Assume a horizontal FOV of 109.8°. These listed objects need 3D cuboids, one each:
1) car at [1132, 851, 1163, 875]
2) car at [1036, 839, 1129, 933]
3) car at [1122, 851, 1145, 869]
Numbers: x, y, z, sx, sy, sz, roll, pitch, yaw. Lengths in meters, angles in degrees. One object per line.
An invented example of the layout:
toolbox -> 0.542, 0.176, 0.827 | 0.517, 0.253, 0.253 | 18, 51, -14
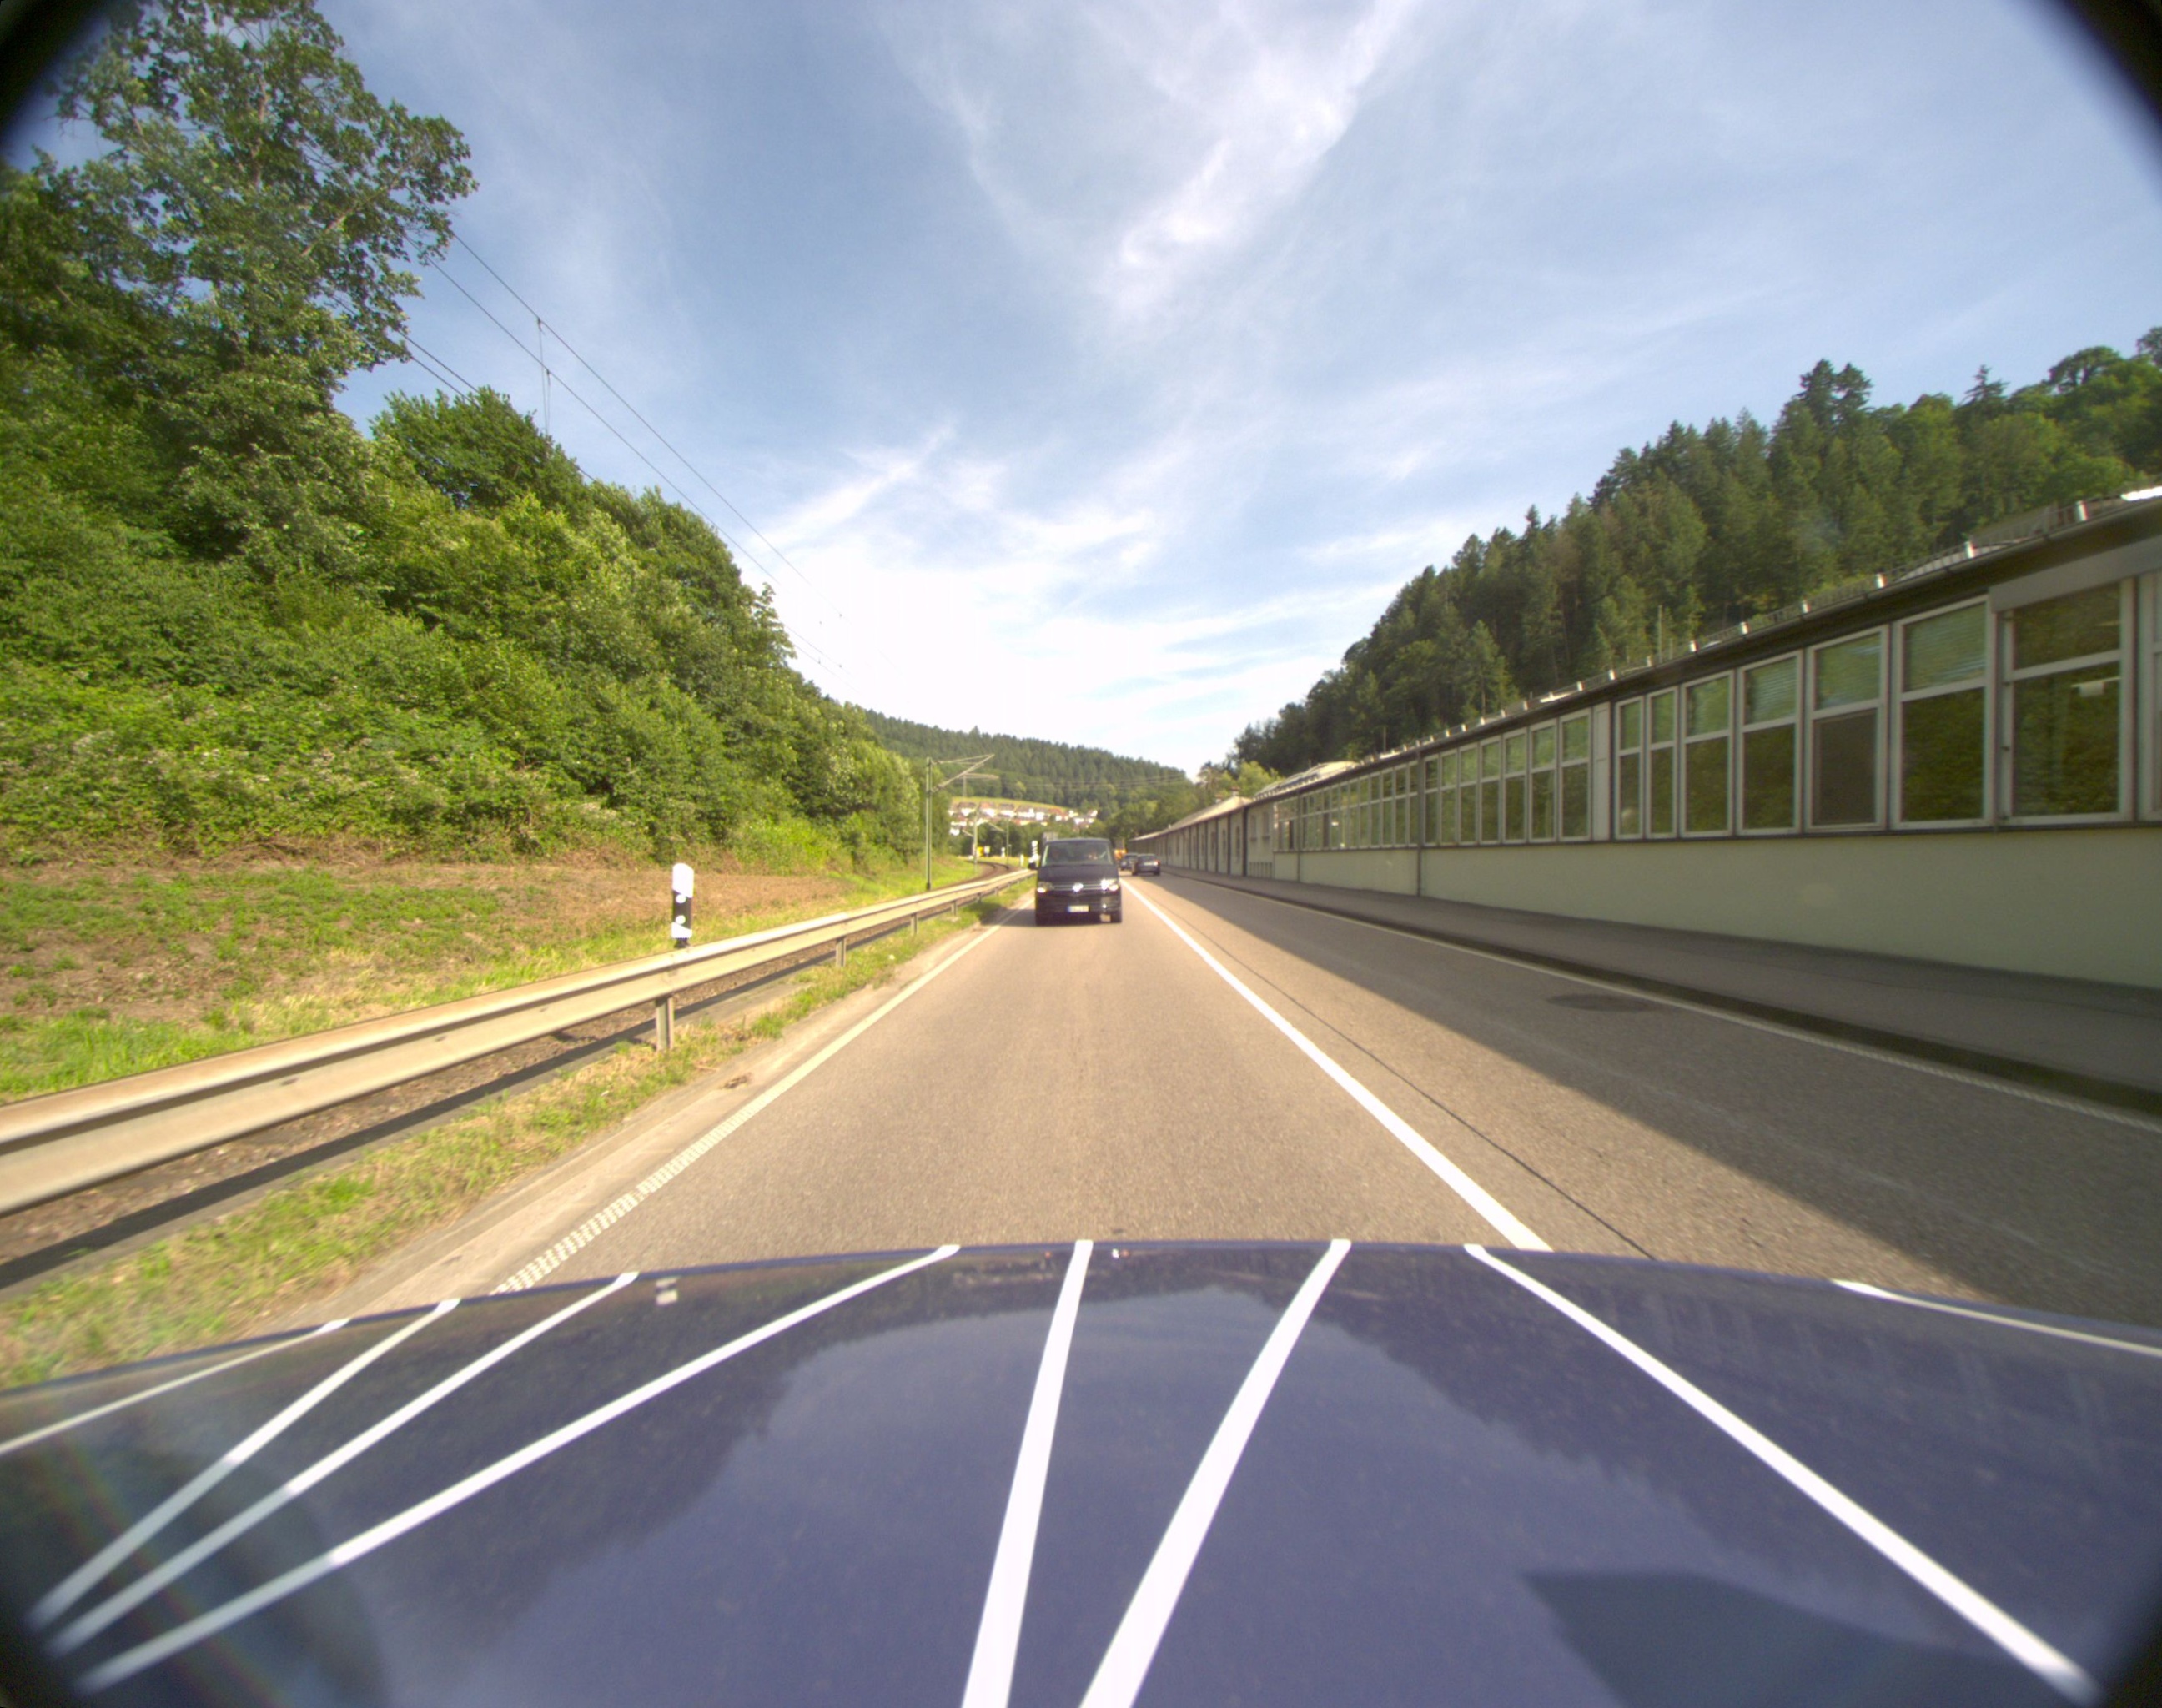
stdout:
car -> 4.501, 0.597, 51.794 | 1.778, 1.482, 4.051 | -2, 0, 1
car -> -0.061, 0.652, 18.369 | 1.901, 1.927, 5.187 | -1, 0, -2
car -> 4.712, 0.486, 68.676 | 1.723, 1.505, 4.198 | -2, 0, 1
